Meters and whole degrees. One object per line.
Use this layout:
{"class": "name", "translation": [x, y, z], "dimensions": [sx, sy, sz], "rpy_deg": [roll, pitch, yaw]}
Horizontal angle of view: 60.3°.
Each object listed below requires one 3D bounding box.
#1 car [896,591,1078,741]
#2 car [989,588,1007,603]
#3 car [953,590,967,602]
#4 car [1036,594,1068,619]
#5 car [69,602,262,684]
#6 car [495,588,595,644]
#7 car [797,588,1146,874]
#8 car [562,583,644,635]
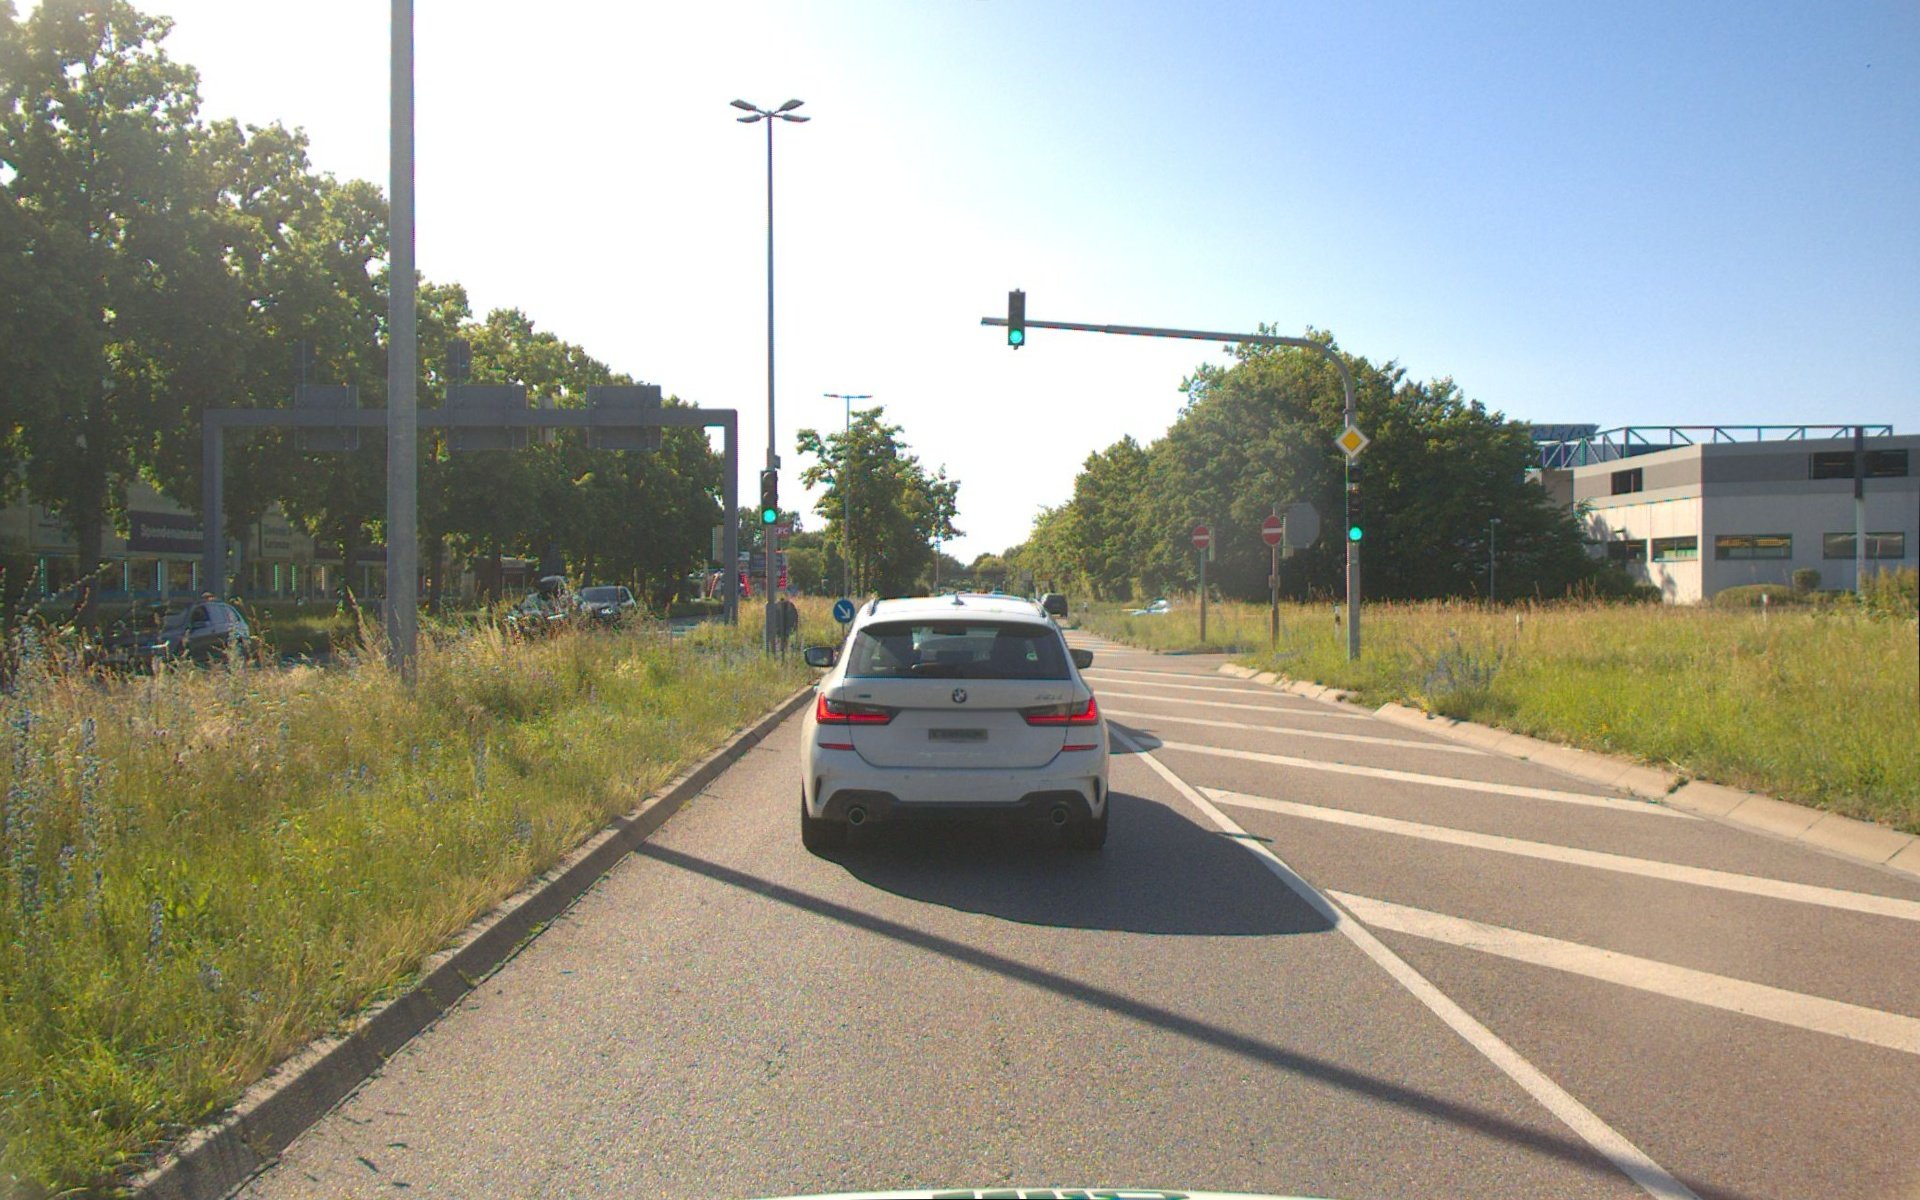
{"class": "car", "translation": [0.248, 0.651, 18.905], "dimensions": [1.824, 1.480, 4.547], "rpy_deg": [0, 0, -1]}
{"class": "car", "translation": [3.998, -0.467, 174.947], "dimensions": [1.824, 1.592, 4.547], "rpy_deg": [0, 0, -1]}
{"class": "car", "translation": [0.025, -0.524, 217.096], "dimensions": [1.824, 1.592, 4.547], "rpy_deg": [0, 0, -1]}
{"class": "car", "translation": [6.015, 0.408, 108.337], "dimensions": [1.736, 1.583, 3.832], "rpy_deg": [0, 0, -2]}
{"class": "car", "translation": [-15.762, 0.806, 33.073], "dimensions": [1.744, 1.450, 4.381], "rpy_deg": [-2, 0, -1]}
{"class": "car", "translation": [-12.564, 0.438, 50.345], "dimensions": [1.838, 1.569, 4.572], "rpy_deg": [-2, 0, 0]}
{"class": "car", "translation": [0.060, 0.669, 10.955], "dimensions": [1.823, 1.480, 4.547], "rpy_deg": [0, 0, 0]}
{"class": "car", "translation": [-12.737, 0.273, 59.263], "dimensions": [1.902, 1.726, 4.629], "rpy_deg": [-2, 1, -1]}
